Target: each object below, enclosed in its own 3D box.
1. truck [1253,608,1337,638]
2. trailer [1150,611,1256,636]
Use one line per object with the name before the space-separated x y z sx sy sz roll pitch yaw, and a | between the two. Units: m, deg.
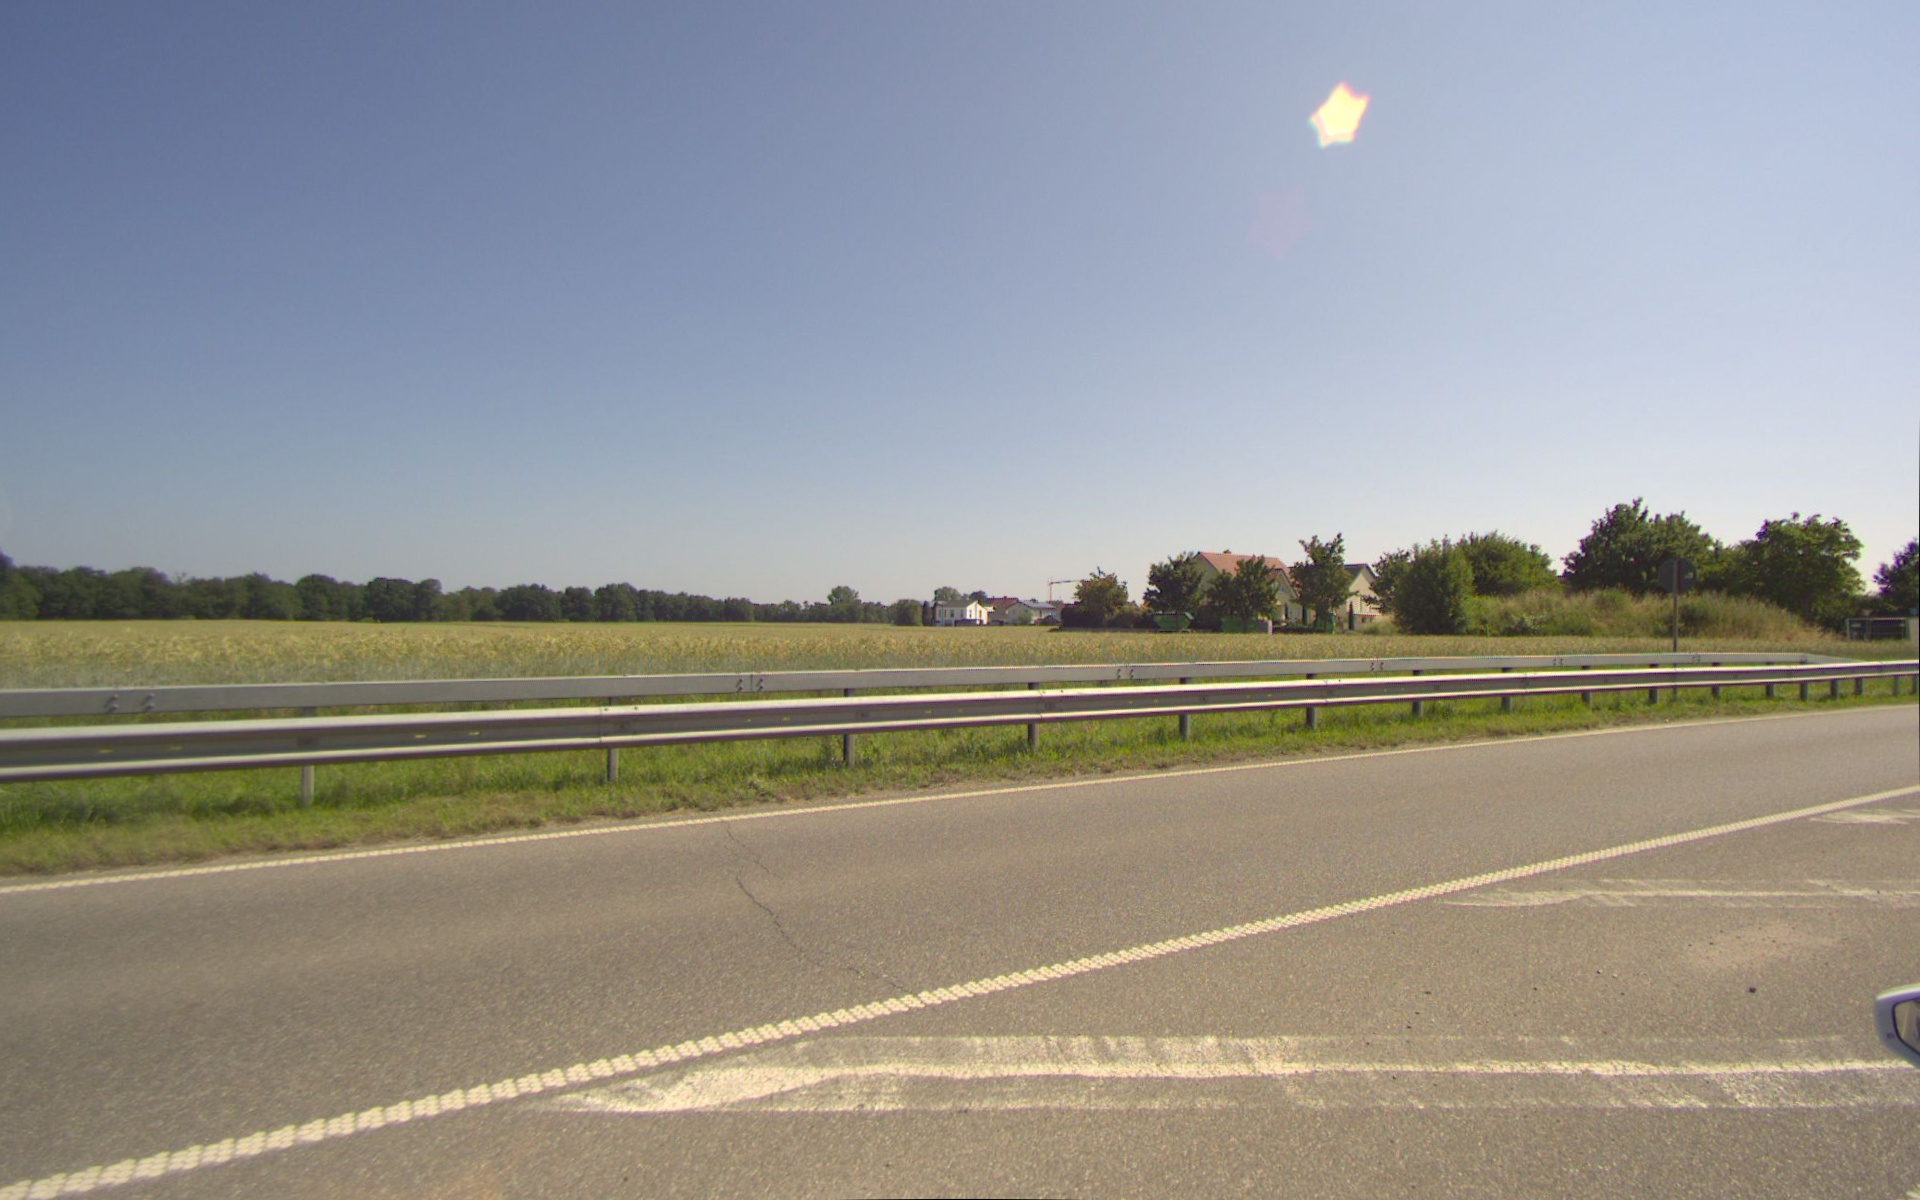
truck | 32.815 2.229 98.464 7.540 2.684 2.520 1 0 24
trailer | 24.634 2.310 101.998 10.292 2.308 1.999 1 0 24
